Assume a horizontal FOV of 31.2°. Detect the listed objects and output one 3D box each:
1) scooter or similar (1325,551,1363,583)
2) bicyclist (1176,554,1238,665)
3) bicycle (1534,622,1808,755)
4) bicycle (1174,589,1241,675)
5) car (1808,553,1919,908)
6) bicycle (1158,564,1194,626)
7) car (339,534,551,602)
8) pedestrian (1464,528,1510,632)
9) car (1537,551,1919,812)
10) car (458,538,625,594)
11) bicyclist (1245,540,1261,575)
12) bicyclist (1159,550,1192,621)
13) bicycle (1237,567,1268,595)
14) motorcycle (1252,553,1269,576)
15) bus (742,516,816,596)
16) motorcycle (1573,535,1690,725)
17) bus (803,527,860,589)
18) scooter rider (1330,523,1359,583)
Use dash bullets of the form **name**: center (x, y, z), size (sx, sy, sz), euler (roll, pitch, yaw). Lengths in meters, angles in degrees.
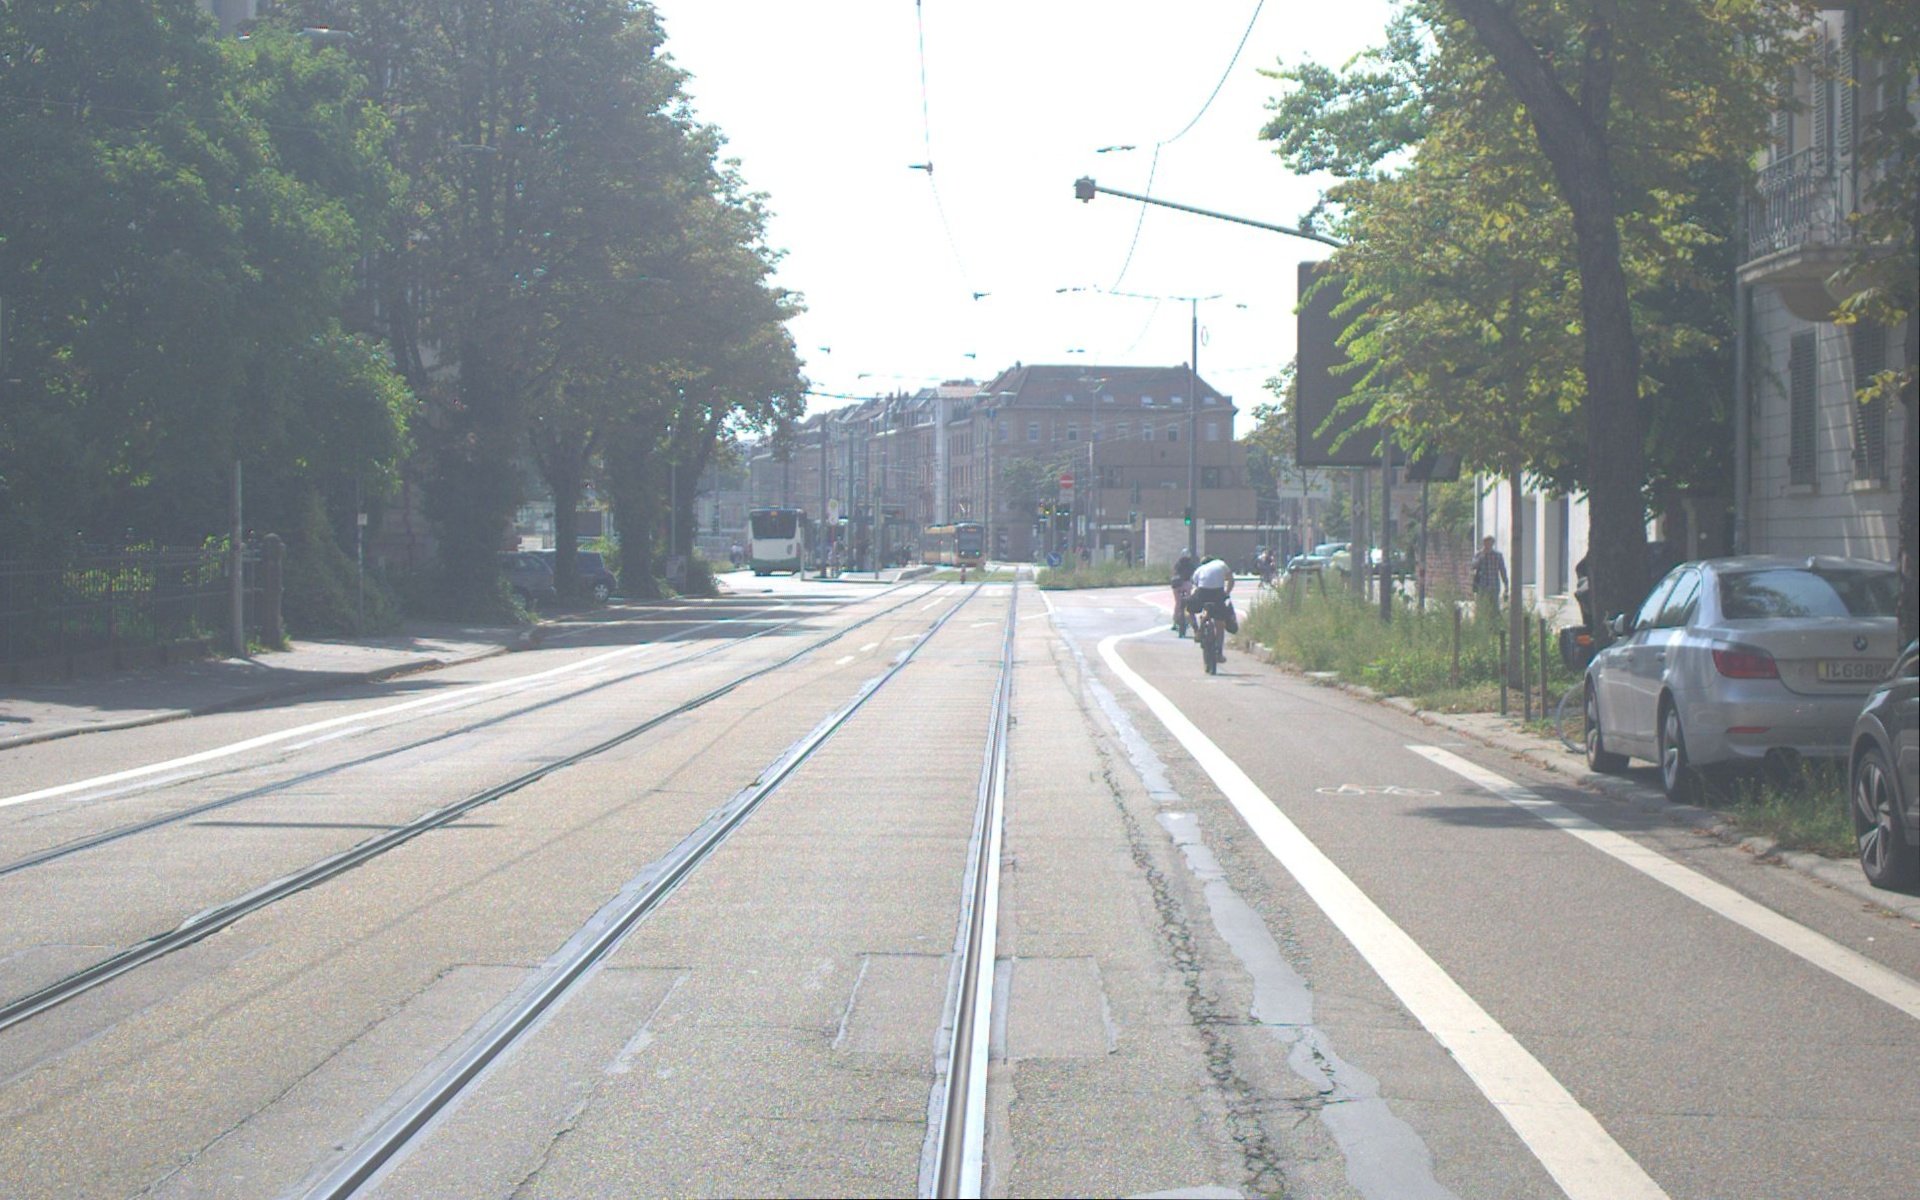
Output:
- **scooter or similar**: center (11.357, -0.995, 101.709), size (0.773, 0.923, 1.619), euler (1, 1, 18)
- **bicyclist**: center (3.213, 0.115, 44.705), size (0.745, 1.407, 0.962), euler (1, 1, 2)
- **bicycle**: center (5.293, 0.652, 25.680), size (1.923, 0.949, 0.721), euler (0, 1, 4)
- **bicycle**: center (3.202, 0.400, 44.613), size (0.739, 1.045, 2.233), euler (1, 1, 1)
- **car**: center (4.930, 0.561, 14.047), size (1.663, 1.502, 4.435), euler (0, 1, -2)
- **bicycle**: center (4.107, -0.099, 65.316), size (0.604, 1.159, 1.810), euler (0, 1, 6)
- **car**: center (-11.731, -0.725, 78.302), size (4.414, 1.457, 1.821), euler (1, 1, -25)
- **pedestrian**: center (8.821, -0.334, 57.576), size (0.692, 1.726, 0.579), euler (0, 1, 3)
- **car**: center (4.995, 0.426, 21.778), size (1.782, 1.445, 4.752), euler (0, 1, -1)
- **car**: center (-11.405, -0.921, 93.795), size (4.151, 1.491, 1.821), euler (0, 1, -36)
- **bicyclist**: center (11.847, -1.701, 138.942), size (0.451, 1.416, 0.494), euler (0, 1, 42)
- **bicyclist**: center (4.088, -0.278, 65.244), size (0.603, 1.330, 0.659), euler (0, 1, 6)
- **bicycle**: center (11.819, -0.765, 138.917), size (0.445, 1.113, 1.443), euler (0, 1, 41)
- **motorcycle**: center (15.715, -1.857, 179.941), size (0.604, 1.206, 2.252), euler (1, 1, 12)
- **bus**: center (-8.905, -2.180, 170.281), size (2.958, 3.762, 10.597), euler (1, 1, 1)
- **motorcycle**: center (5.694, 0.231, 29.269), size (0.886, 1.547, 2.411), euler (0, 0, 9)
- **bus**: center (-8.028, -2.629, 215.839), size (2.710, 3.714, 10.418), euler (1, 1, 3)
- **scooter rider**: center (11.374, -1.397, 101.719), size (0.762, 1.769, 0.554), euler (1, 1, 18)
